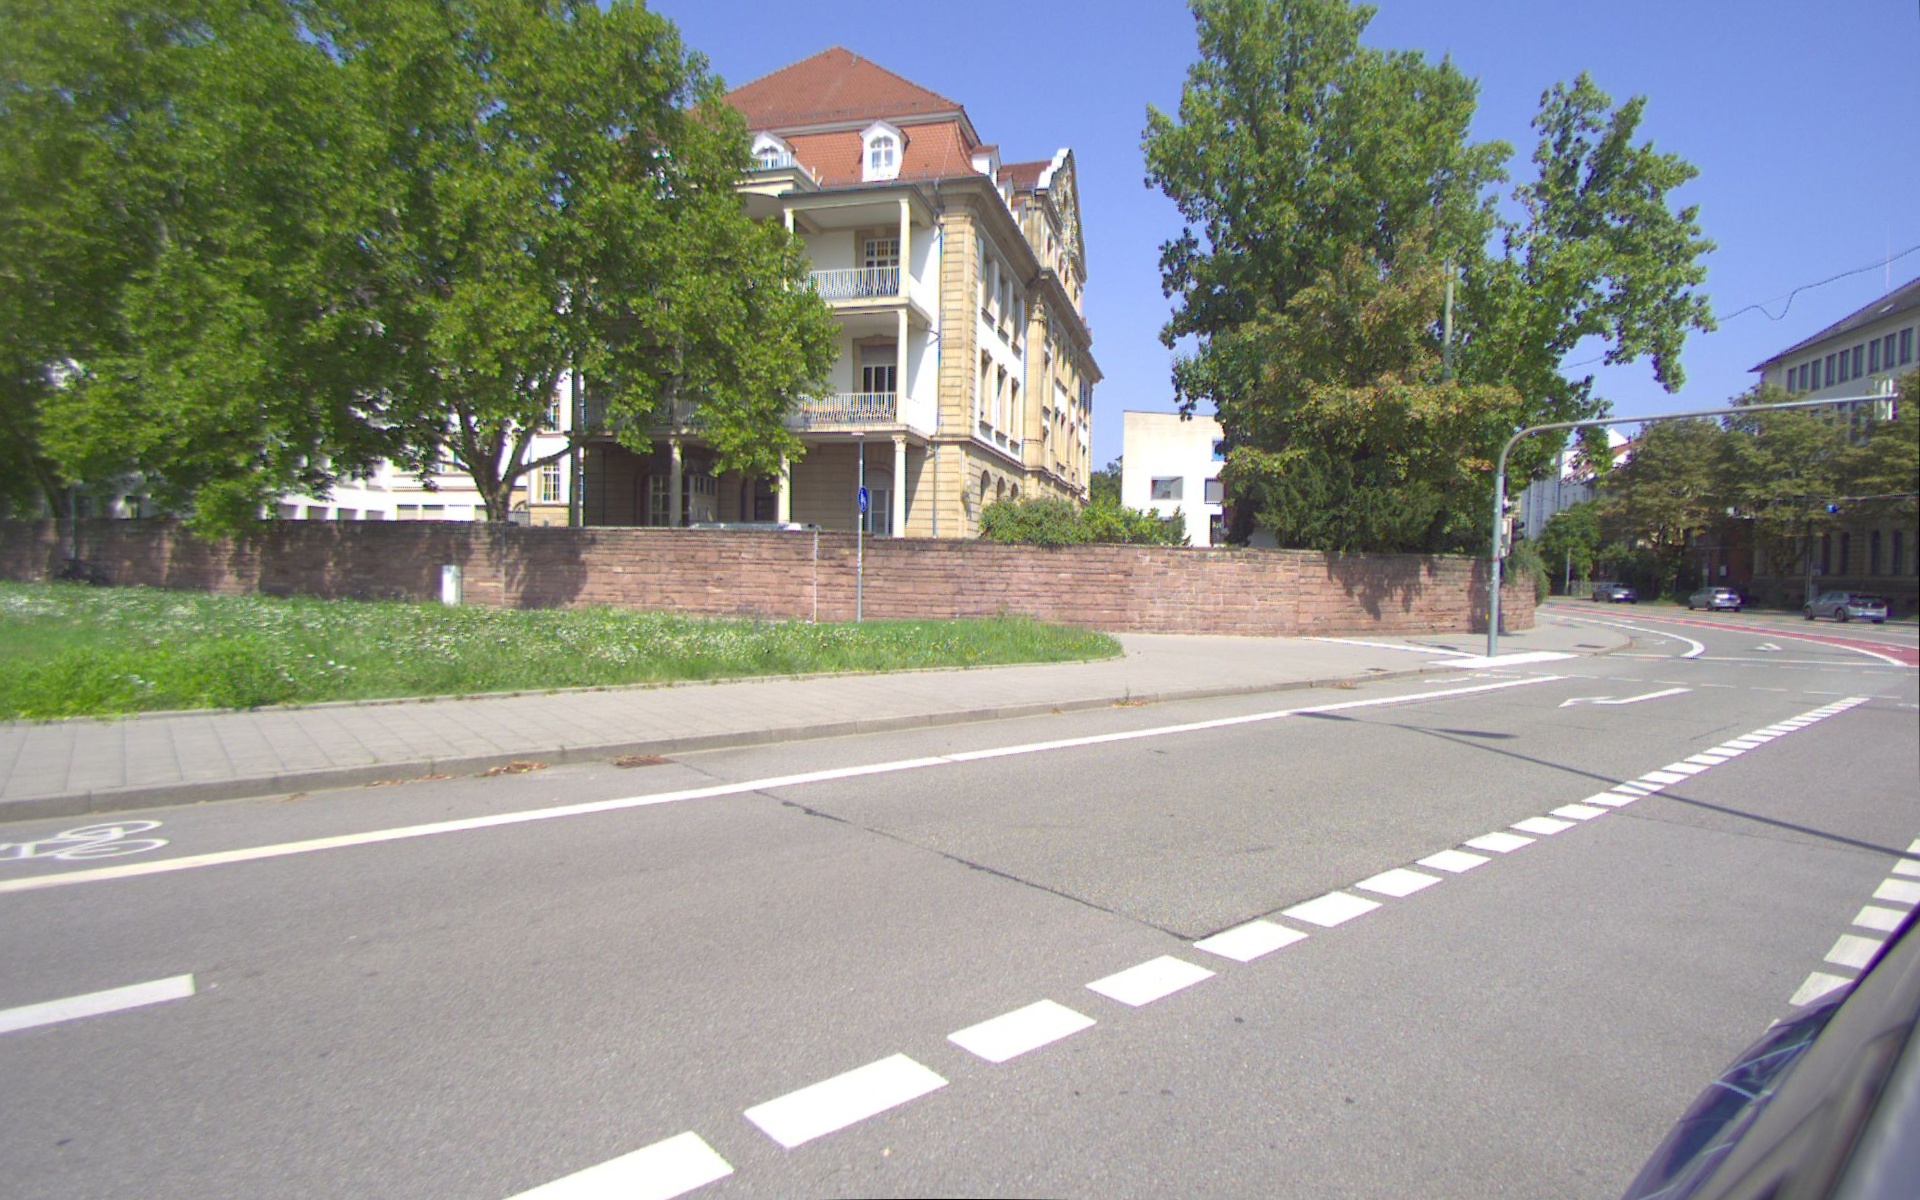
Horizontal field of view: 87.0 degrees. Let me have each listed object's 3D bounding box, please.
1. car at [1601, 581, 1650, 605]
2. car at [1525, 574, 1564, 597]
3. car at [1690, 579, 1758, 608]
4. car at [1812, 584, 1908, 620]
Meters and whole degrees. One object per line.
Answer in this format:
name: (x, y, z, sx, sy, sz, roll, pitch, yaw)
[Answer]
car: (52.003, -0.567, 79.210, 1.972, 1.660, 3.982, 2, 2, 15)
car: (57.104, -1.447, 98.942, 2.272, 2.187, 4.210, 2, 2, 16)
car: (47.848, -0.452, 63.467, 1.972, 1.690, 3.981, 2, 2, 15)
car: (44.292, 0.069, 49.924, 1.860, 1.615, 3.983, 2, 2, 14)
